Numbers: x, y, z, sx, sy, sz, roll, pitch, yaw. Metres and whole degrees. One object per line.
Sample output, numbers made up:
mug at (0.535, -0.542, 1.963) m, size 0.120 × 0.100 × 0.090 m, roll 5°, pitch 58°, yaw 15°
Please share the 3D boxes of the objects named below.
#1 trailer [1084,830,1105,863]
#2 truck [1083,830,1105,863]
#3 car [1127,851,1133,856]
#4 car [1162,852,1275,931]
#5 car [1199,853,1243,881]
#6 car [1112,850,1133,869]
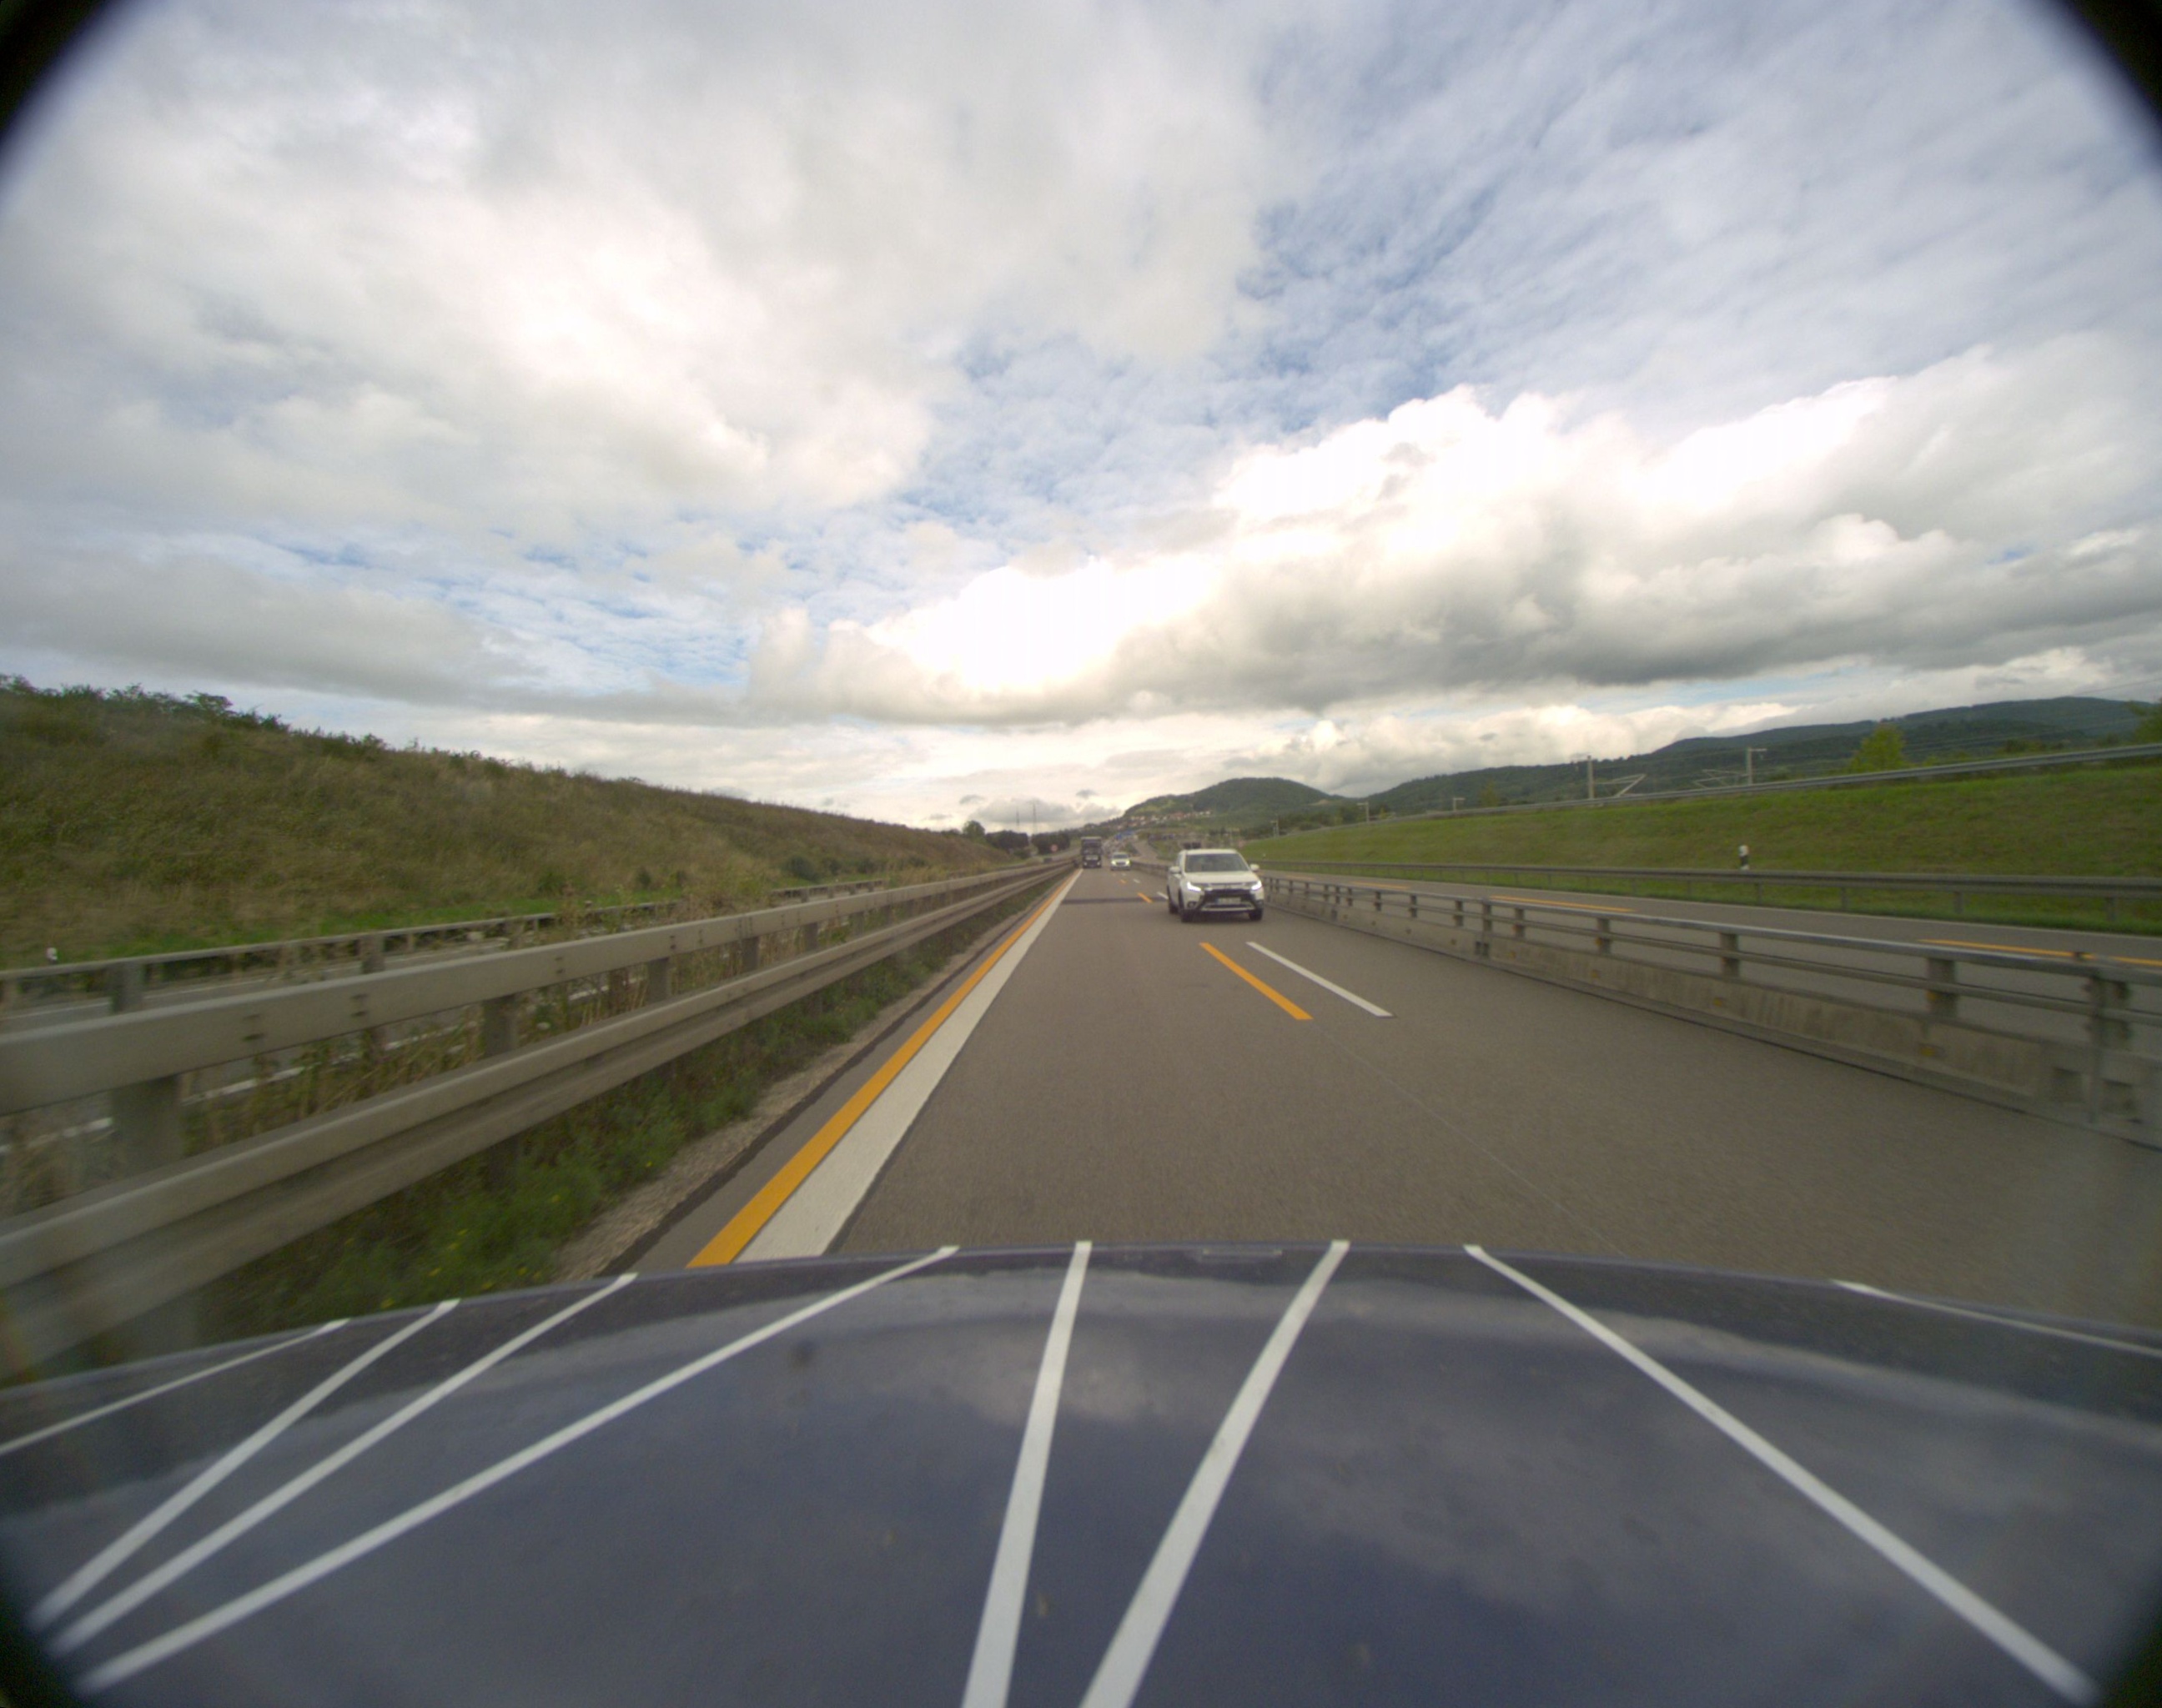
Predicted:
trailer at (1.843, -1.006, 101.925) m, size 2.521 × 4.081 × 11.113 m, roll -2°, pitch 0°, yaw 2°
truck at (1.701, -0.951, 96.849) m, size 2.521 × 4.081 × 5.685 m, roll -2°, pitch 1°, yaw 2°
car at (14.721, -0.158, 228.873) m, size 1.792 × 1.507 × 4.135 m, roll -1°, pitch 1°, yaw 1°
car at (3.139, 0.789, 18.258) m, size 1.998 × 1.618 × 4.607 m, roll -1°, pitch 0°, yaw 2°
car at (7.622, 0.669, 41.745) m, size 1.761 × 1.380 × 4.000 m, roll -2°, pitch 0°, yaw 2°
car at (4.328, 0.551, 80.125) m, size 1.990 × 1.787 × 4.586 m, roll -2°, pitch 0°, yaw 1°
